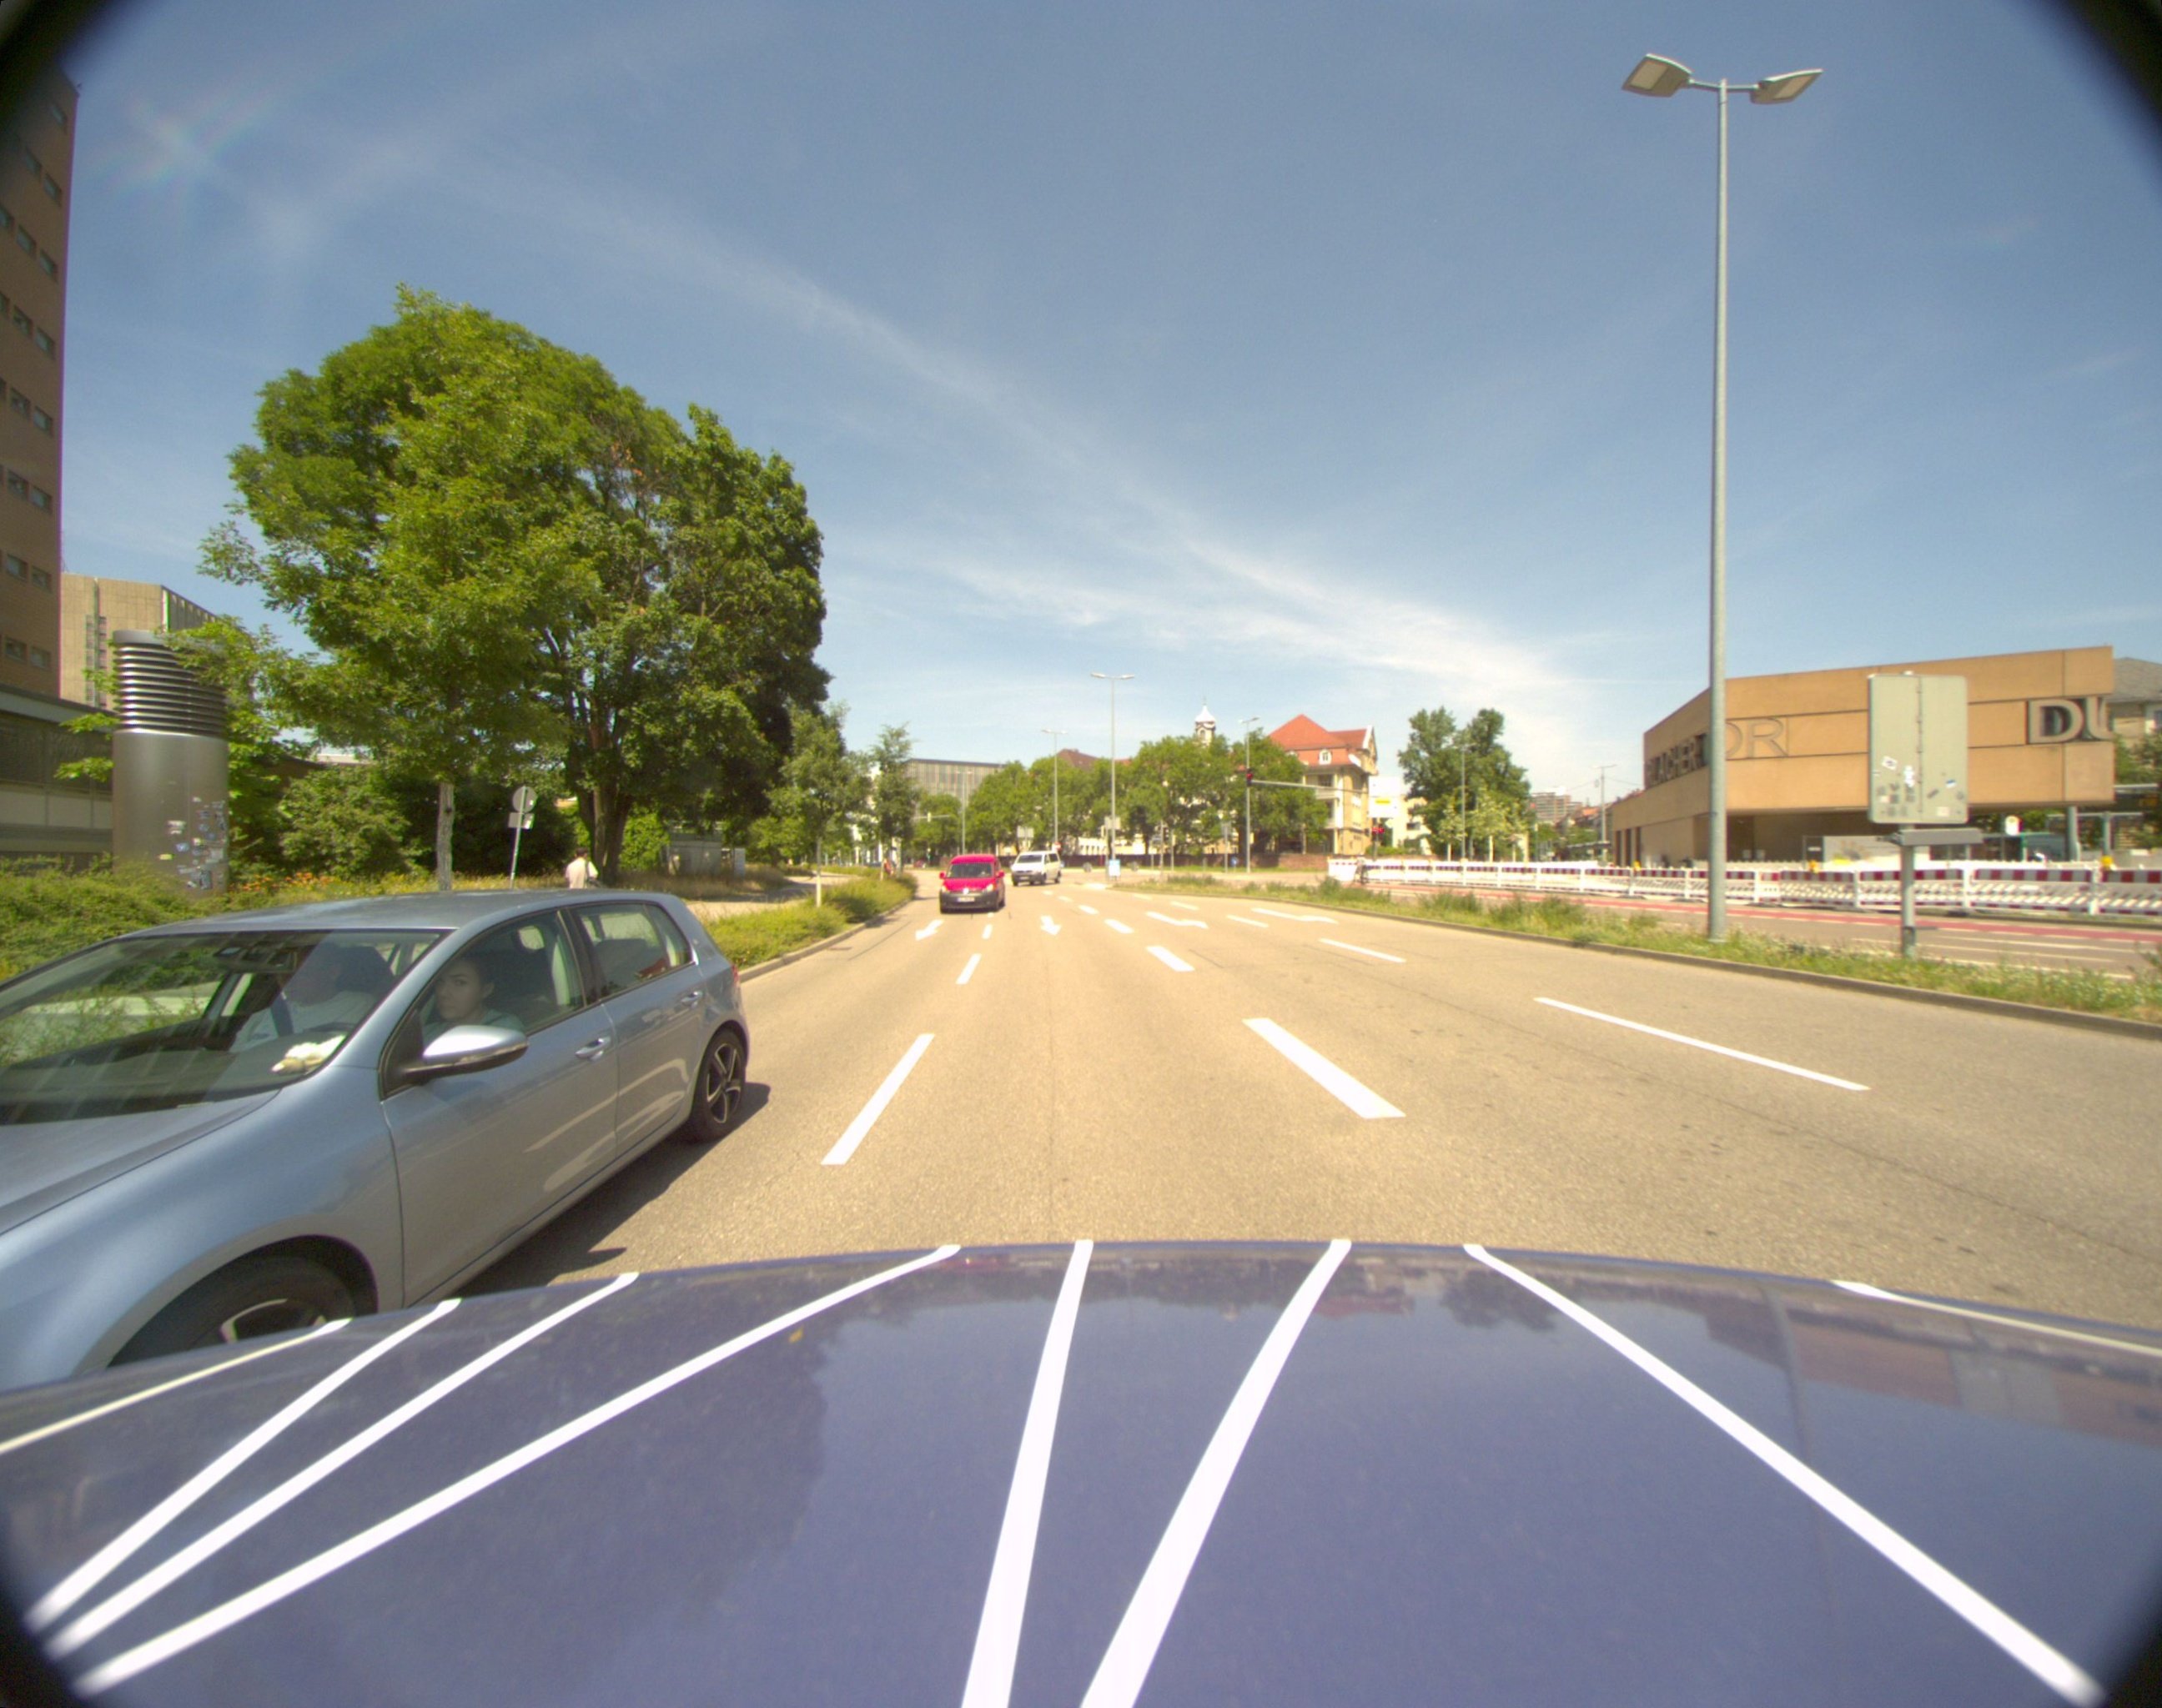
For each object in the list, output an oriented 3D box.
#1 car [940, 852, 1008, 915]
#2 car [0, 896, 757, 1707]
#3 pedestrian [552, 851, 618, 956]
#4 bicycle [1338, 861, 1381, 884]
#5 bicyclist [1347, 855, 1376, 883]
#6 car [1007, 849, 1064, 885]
[{"bbox_3d":[-3.387,0.881,24.789,1.655,1.848,4.545,-1,0,-1],"label":"car"},{"bbox_3d":[-2.844,1.009,2.752,1.655,1.450,4.003,-2,0,-1],"label":"car"},{"bbox_3d":[-8.656,0.851,13.287,0.728,1.787,0.614,0,0,1],"label":"pedestrian"},{"bbox_3d":[13.829,0.894,37.844,0.879,1.066,2.229,-2,1,-15],"label":"bicycle"},{"bbox_3d":[13.960,0.745,37.887,0.587,1.348,1.438,-3,1,-15],"label":"bicyclist"},{"bbox_3d":[-2.598,0.731,44.977,1.969,1.958,4.853,-2,0,14],"label":"car"}]
